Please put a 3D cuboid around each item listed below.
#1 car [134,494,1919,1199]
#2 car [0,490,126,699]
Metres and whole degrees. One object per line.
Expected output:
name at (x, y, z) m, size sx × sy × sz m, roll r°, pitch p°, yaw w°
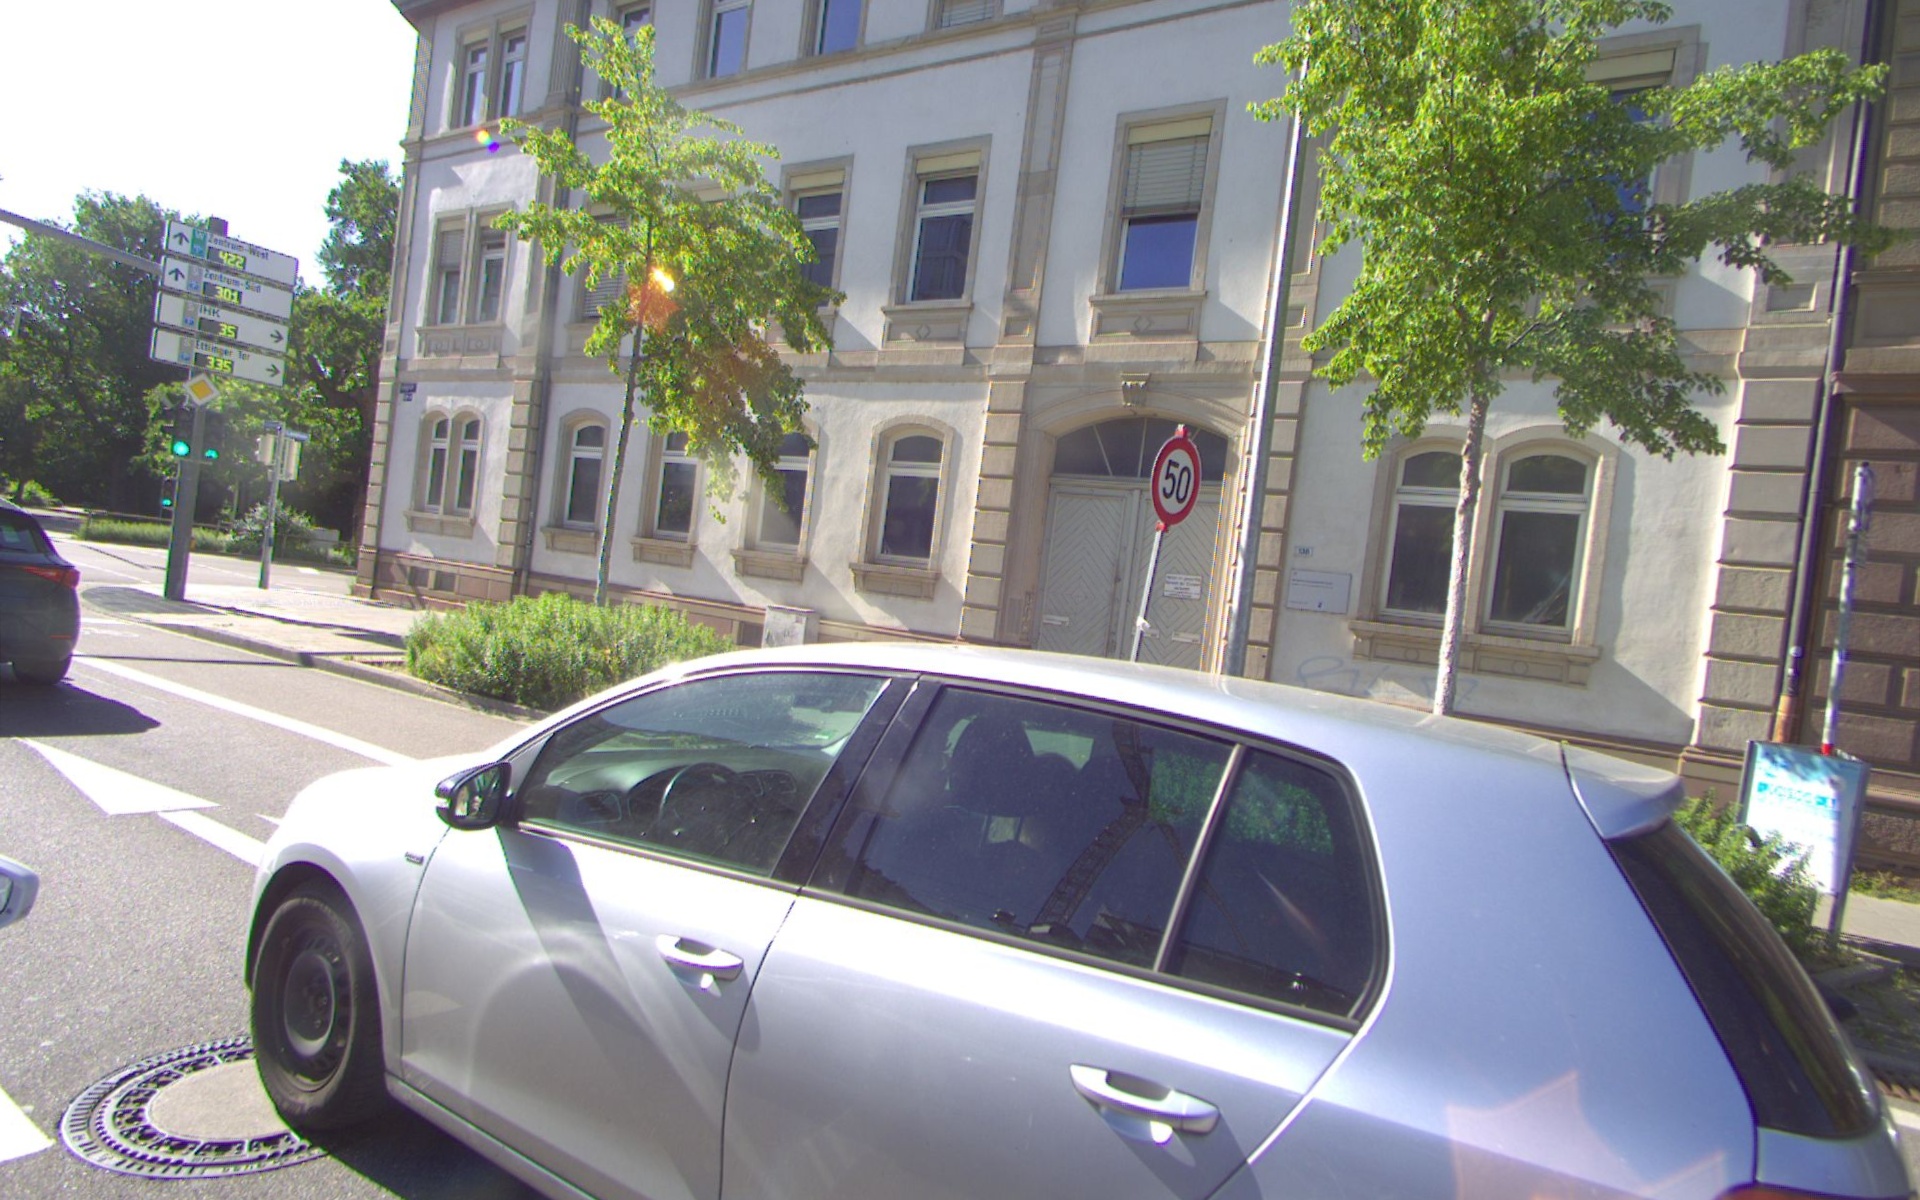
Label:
car at (-0.246, 0.749, 2.685) m, size 3.938 × 1.545 × 1.753 m, roll 7°, pitch -1°, yaw 32°
car at (-8.435, -0.255, 7.734) m, size 3.784 × 1.444 × 1.796 m, roll 7°, pitch -2°, yaw 30°
